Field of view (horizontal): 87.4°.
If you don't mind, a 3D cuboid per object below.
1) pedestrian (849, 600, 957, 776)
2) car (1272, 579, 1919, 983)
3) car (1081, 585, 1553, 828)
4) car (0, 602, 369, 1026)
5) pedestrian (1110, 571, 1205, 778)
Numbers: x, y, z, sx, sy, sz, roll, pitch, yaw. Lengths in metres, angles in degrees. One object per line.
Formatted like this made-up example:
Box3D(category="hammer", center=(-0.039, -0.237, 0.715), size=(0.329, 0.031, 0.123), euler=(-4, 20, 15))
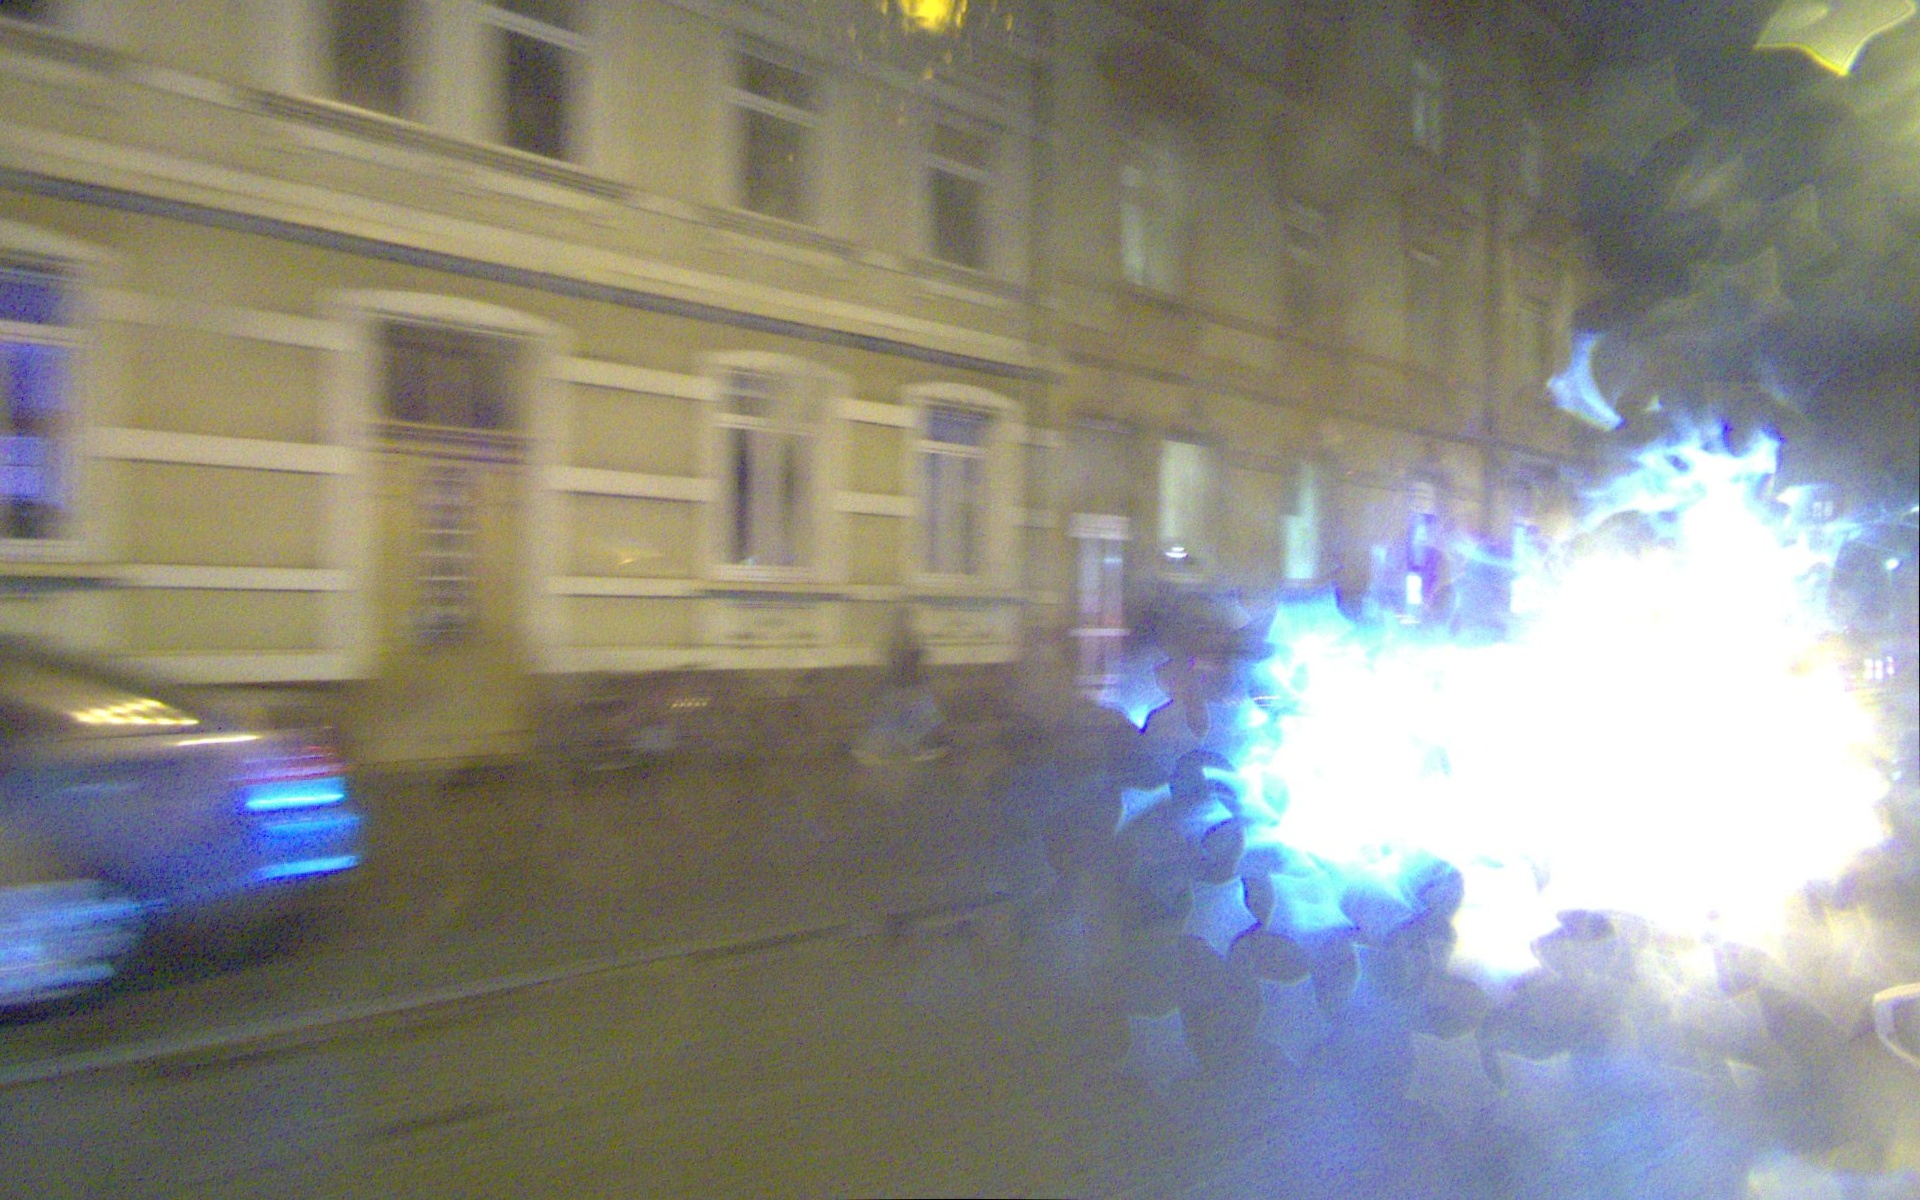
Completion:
Box3D(category="pedestrian", center=(-0.545, 0.806, 9.629), size=(0.648, 1.573, 0.759), euler=(3, 1, 41))
Box3D(category="car", center=(4.143, 0.787, 6.221), size=(4.531, 1.639, 1.907), euler=(1, -2, -36))
Box3D(category="car", center=(3.422, 0.797, 9.267), size=(4.548, 1.740, 1.821), euler=(1, -1, -35))
Box3D(category="car", center=(-4.860, 0.748, 3.664), size=(4.548, 1.506, 1.821), euler=(1, -1, -35))
Box3D(category="pedestrian", center=(2.019, 0.725, 10.240), size=(0.647, 2.000, 0.768), euler=(3, 1, 34))
